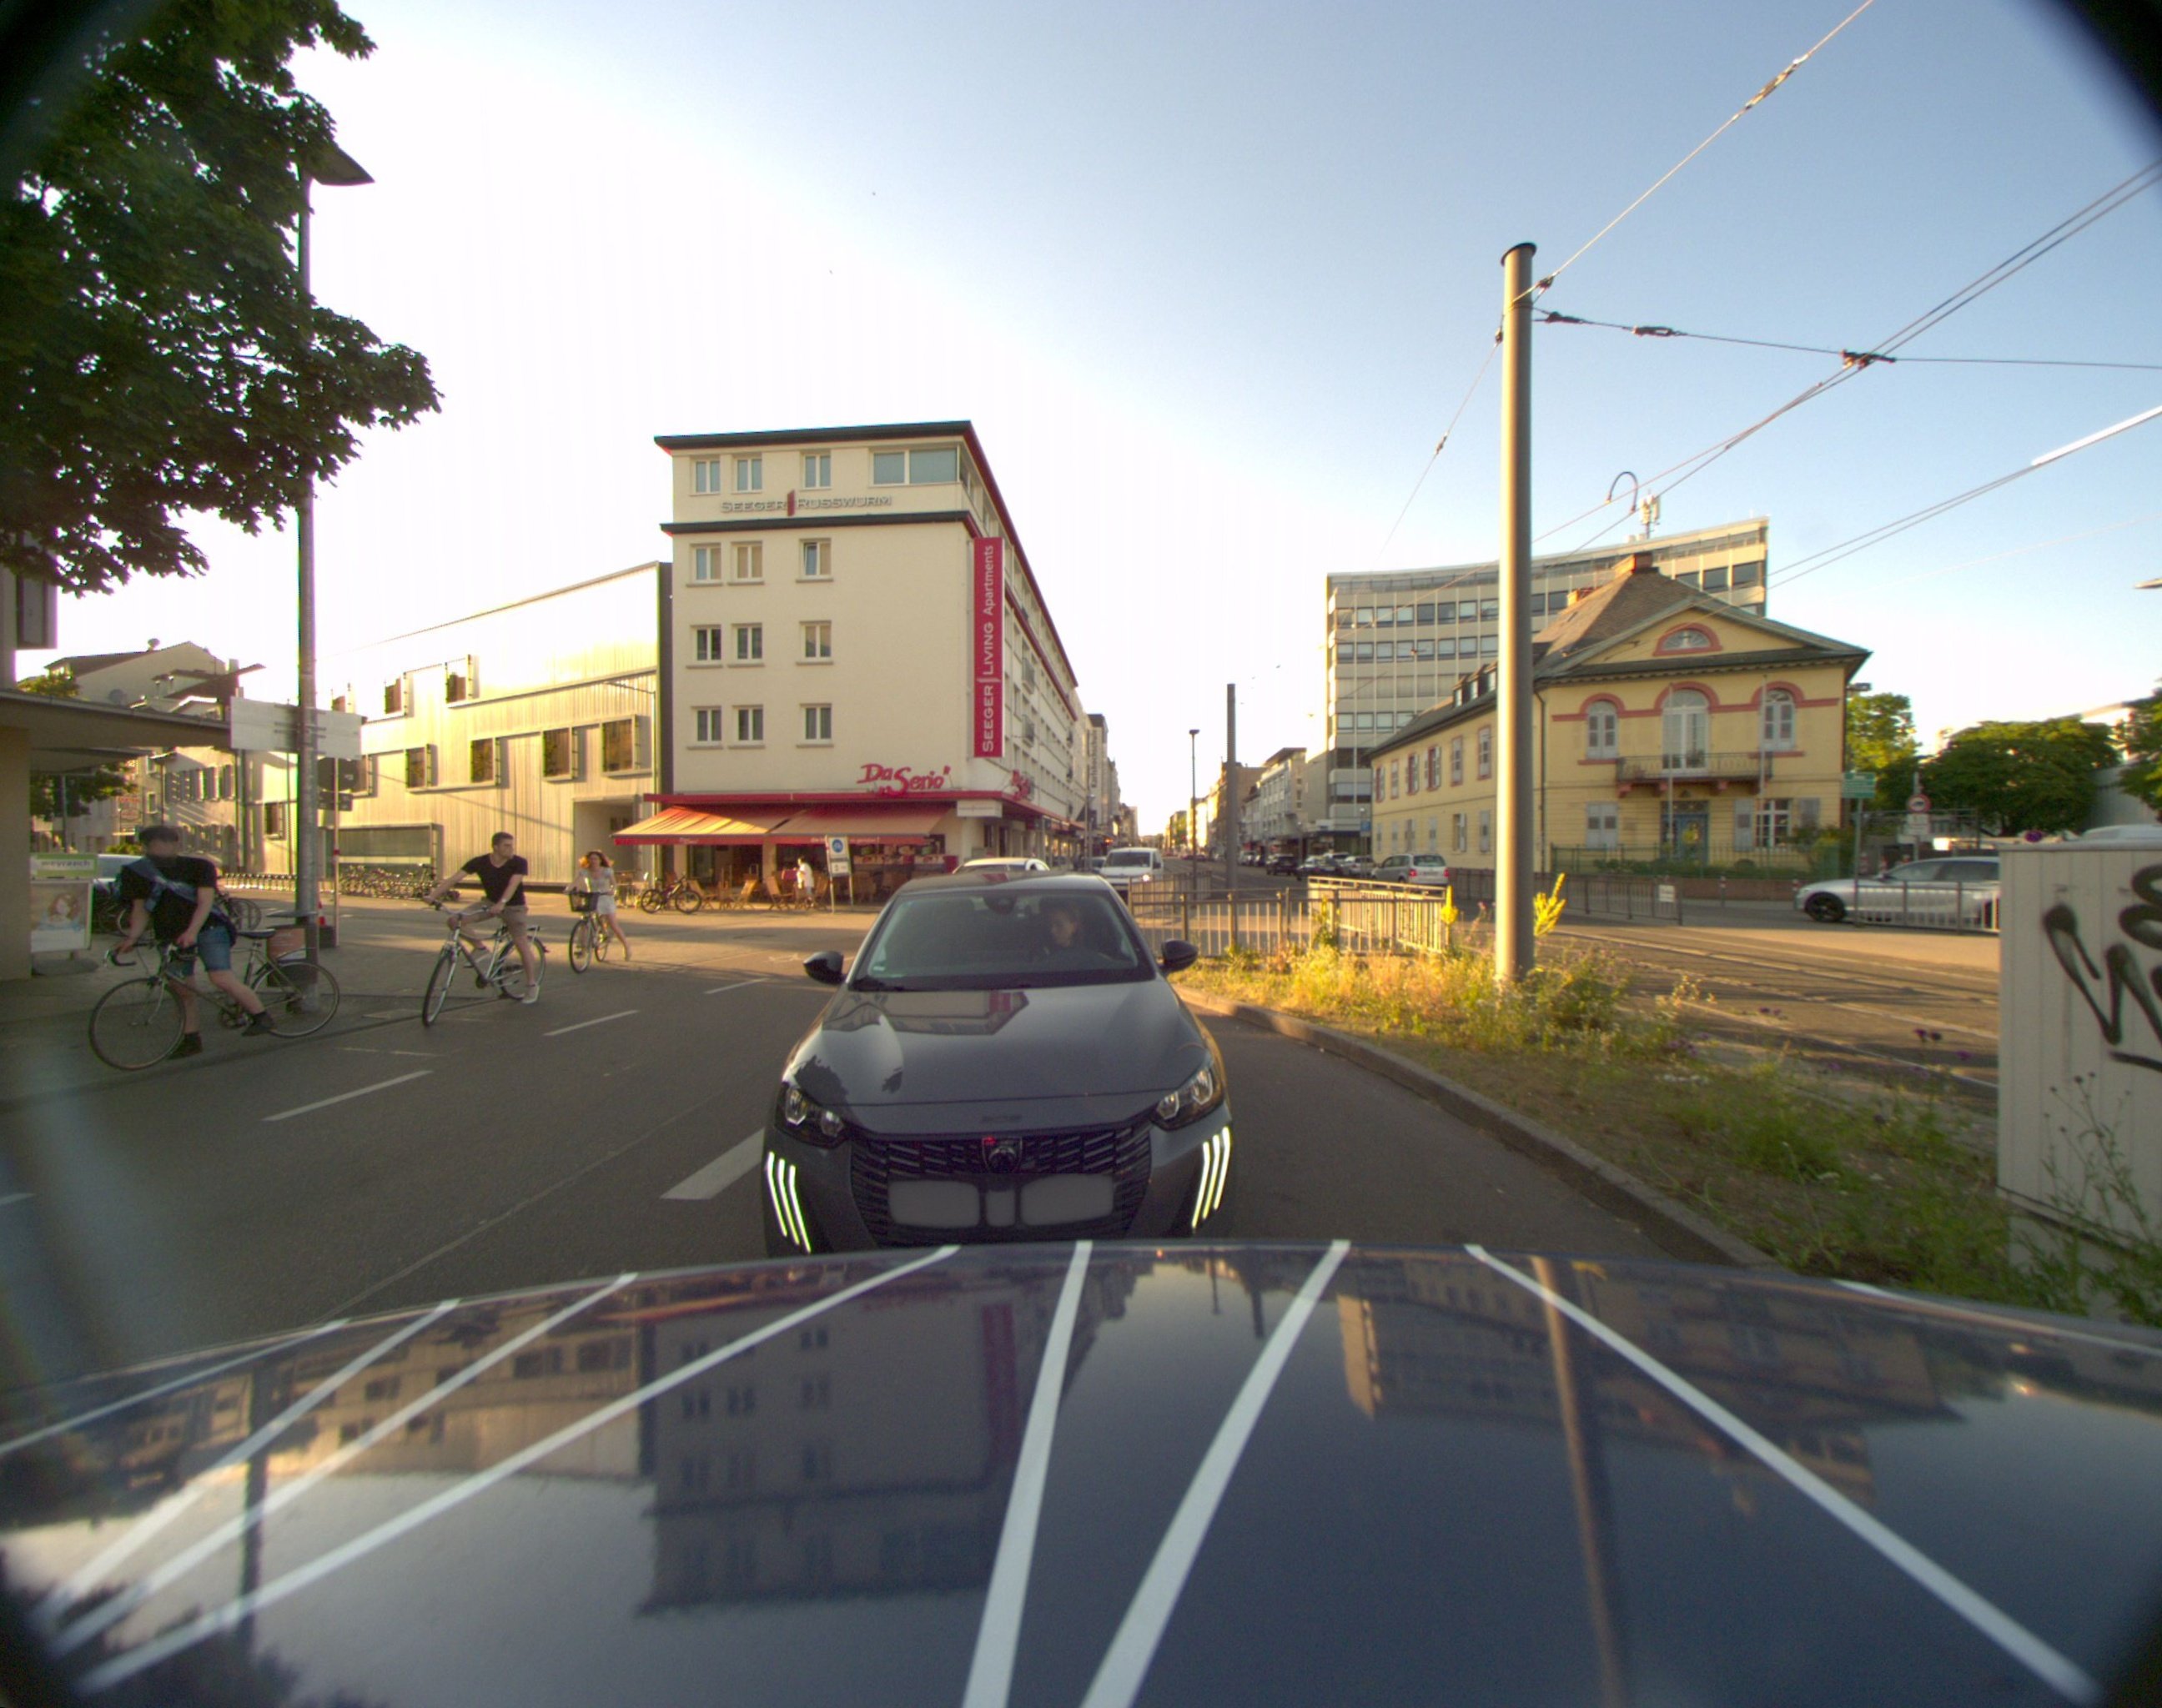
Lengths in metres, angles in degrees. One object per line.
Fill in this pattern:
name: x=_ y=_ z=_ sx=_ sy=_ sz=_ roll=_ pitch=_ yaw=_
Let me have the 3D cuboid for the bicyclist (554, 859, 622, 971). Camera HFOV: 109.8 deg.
bicyclist: x=-6.804 y=0.812 z=10.519 sx=0.589 sy=1.478 sz=0.717 roll=0 pitch=1 yaw=-17

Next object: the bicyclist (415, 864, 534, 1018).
bicyclist: x=-6.148 y=0.849 z=7.739 sx=0.613 sy=1.478 sz=0.718 roll=0 pitch=1 yaw=3

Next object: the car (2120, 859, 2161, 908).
car: x=32.959 y=0.890 z=22.337 sx=1.729 sy=1.421 sz=4.483 roll=1 pitch=1 yaw=39

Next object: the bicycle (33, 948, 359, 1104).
bicycle: x=-7.131 y=1.336 z=6.280 sx=0.675 sy=0.896 sz=1.690 roll=0 pitch=1 yaw=2

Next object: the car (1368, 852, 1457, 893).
car: x=13.835 y=0.715 z=31.982 sx=1.839 sy=1.589 sz=4.071 roll=0 pitch=0 yaw=-3

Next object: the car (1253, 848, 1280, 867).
car: x=19.858 y=0.343 z=81.554 sx=1.998 sy=1.936 sz=4.000 roll=0 pitch=0 yaw=2

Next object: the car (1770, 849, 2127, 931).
car: x=17.060 y=0.595 z=15.299 sx=1.917 sy=1.402 sz=4.330 roll=0 pitch=1 yaw=-20

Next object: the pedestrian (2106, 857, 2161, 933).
pedestrian: x=21.804 y=0.819 z=15.397 sx=1.041 sy=1.494 sz=1.007 roll=1 pitch=1 yaw=42

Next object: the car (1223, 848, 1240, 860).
car: x=24.456 y=-0.055 z=123.524 sx=1.998 sy=1.936 sz=4.000 roll=0 pitch=0 yaw=2

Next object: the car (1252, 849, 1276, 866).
car: x=21.647 y=0.400 z=89.890 sx=1.998 sy=1.936 sz=4.000 roll=0 pitch=0 yaw=2

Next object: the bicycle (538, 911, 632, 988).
bicycle: x=-6.804 y=1.273 z=10.518 sx=0.600 sy=0.820 sz=1.737 roll=0 pitch=1 yaw=-16

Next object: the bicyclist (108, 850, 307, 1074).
bicyclist: x=-7.133 y=0.830 z=6.249 sx=0.665 sy=1.717 sz=0.810 roll=0 pitch=1 yaw=2

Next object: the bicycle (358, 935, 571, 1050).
bicycle: x=-6.151 y=1.342 z=7.738 sx=0.614 sy=0.820 sz=1.806 roll=0 pitch=0 yaw=4

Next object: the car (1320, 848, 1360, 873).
car: x=18.712 y=0.423 z=55.026 sx=1.736 sy=1.698 sz=3.806 roll=0 pitch=1 yaw=3

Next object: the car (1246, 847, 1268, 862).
car: x=22.336 y=0.025 z=96.711 sx=1.998 sy=1.936 sz=4.000 roll=0 pitch=1 yaw=2

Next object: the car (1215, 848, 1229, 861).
car: x=25.408 y=0.093 z=137.002 sx=1.998 sy=2.363 sz=4.000 roll=0 pitch=1 yaw=2

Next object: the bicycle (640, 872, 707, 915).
bicycle: x=-11.571 y=1.119 z=21.599 sx=1.632 sy=1.160 sz=0.600 roll=0 pitch=3 yaw=10

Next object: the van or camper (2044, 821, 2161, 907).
van or camper: x=36.867 y=0.320 z=26.960 sx=2.077 sy=2.758 sz=6.464 roll=1 pitch=1 yaw=41

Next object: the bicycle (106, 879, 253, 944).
bicycle: x=-17.302 y=1.075 z=14.643 sx=0.538 sy=1.179 sz=1.721 roll=0 pitch=-2 yaw=22

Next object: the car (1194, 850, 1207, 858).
car: x=22.514 y=0.029 z=143.090 sx=1.848 sy=1.499 sz=4.000 roll=0 pitch=0 yaw=1

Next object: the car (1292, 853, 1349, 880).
car: x=13.563 y=0.677 z=43.298 sx=2.017 sy=1.420 sz=4.657 roll=0 pitch=0 yaw=3

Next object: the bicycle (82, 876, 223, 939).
bicycle: x=-18.414 y=1.030 z=15.123 sx=0.484 sy=1.179 sz=1.690 roll=0 pitch=-2 yaw=22

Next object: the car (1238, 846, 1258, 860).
car: x=22.792 y=-0.142 z=103.862 sx=1.998 sy=1.936 sz=4.000 roll=0 pitch=1 yaw=2

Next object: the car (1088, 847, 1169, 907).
car: x=1.711 y=0.698 z=25.623 sx=1.997 sy=1.827 sz=4.880 roll=0 pitch=0 yaw=12

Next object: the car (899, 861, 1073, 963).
car: x=-1.478 y=0.880 z=13.701 sx=1.814 sy=1.440 sz=4.566 roll=0 pitch=0 yaw=10

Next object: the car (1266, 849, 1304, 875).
car: x=15.611 y=0.583 z=58.307 sx=1.998 sy=1.979 sz=4.120 roll=0 pitch=1 yaw=3

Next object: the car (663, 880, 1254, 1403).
car: x=-0.494 y=1.010 z=4.842 sx=1.916 sy=1.495 sz=4.700 roll=0 pitch=0 yaw=-3

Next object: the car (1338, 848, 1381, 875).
car: x=18.189 y=0.443 z=49.767 sx=1.736 sy=1.698 sz=3.440 roll=0 pitch=0 yaw=4

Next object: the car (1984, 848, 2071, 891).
car: x=43.266 y=0.651 z=34.840 sx=1.713 sy=1.838 sz=4.031 roll=2 pitch=1 yaw=40

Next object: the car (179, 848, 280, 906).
car: x=-31.444 y=0.766 z=28.034 sx=3.988 sy=2.002 sz=2.004 roll=0 pitch=1 yaw=35

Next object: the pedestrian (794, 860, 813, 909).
pedestrian: x=-8.229 y=0.891 z=22.528 sx=0.509 sy=1.441 sz=0.506 roll=0 pitch=1 yaw=-22

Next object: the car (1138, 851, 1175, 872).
car: x=5.999 y=0.578 z=60.041 sx=1.996 sy=1.565 sz=4.308 roll=0 pitch=0 yaw=18

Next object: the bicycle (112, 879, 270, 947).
bicycle: x=-16.394 y=1.053 z=14.066 sx=0.553 sy=1.179 sz=1.784 roll=0 pitch=-2 yaw=22

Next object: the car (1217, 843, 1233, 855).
car: x=24.476 y=-0.872 z=129.144 sx=1.998 sy=2.002 sz=3.999 roll=-2 pitch=1 yaw=1
